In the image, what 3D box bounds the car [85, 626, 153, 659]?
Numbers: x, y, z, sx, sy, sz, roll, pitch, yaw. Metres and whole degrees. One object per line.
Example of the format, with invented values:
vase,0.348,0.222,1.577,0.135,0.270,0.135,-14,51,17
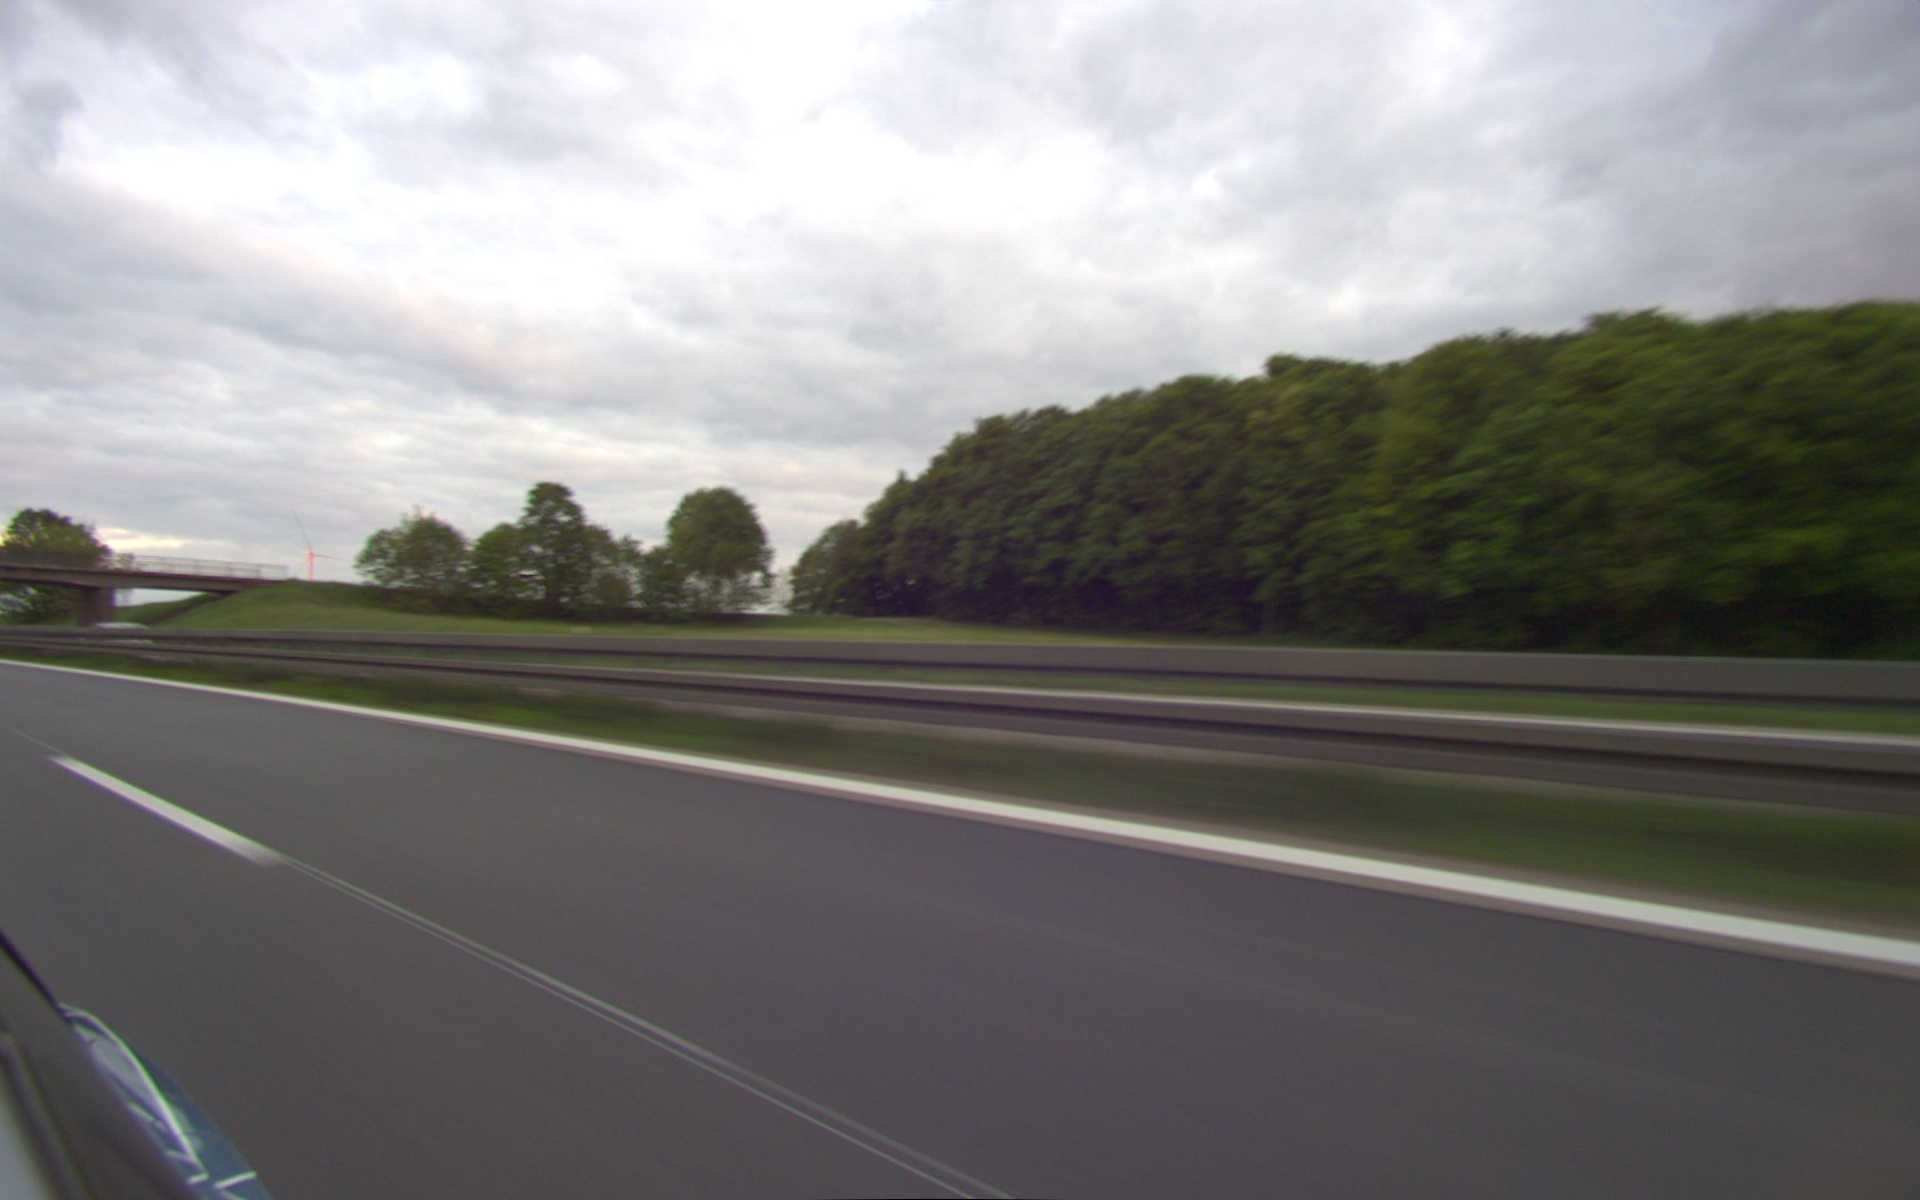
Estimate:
car,-43.370,2.174,52.140,4.471,1.652,1.736,-1,-3,38
